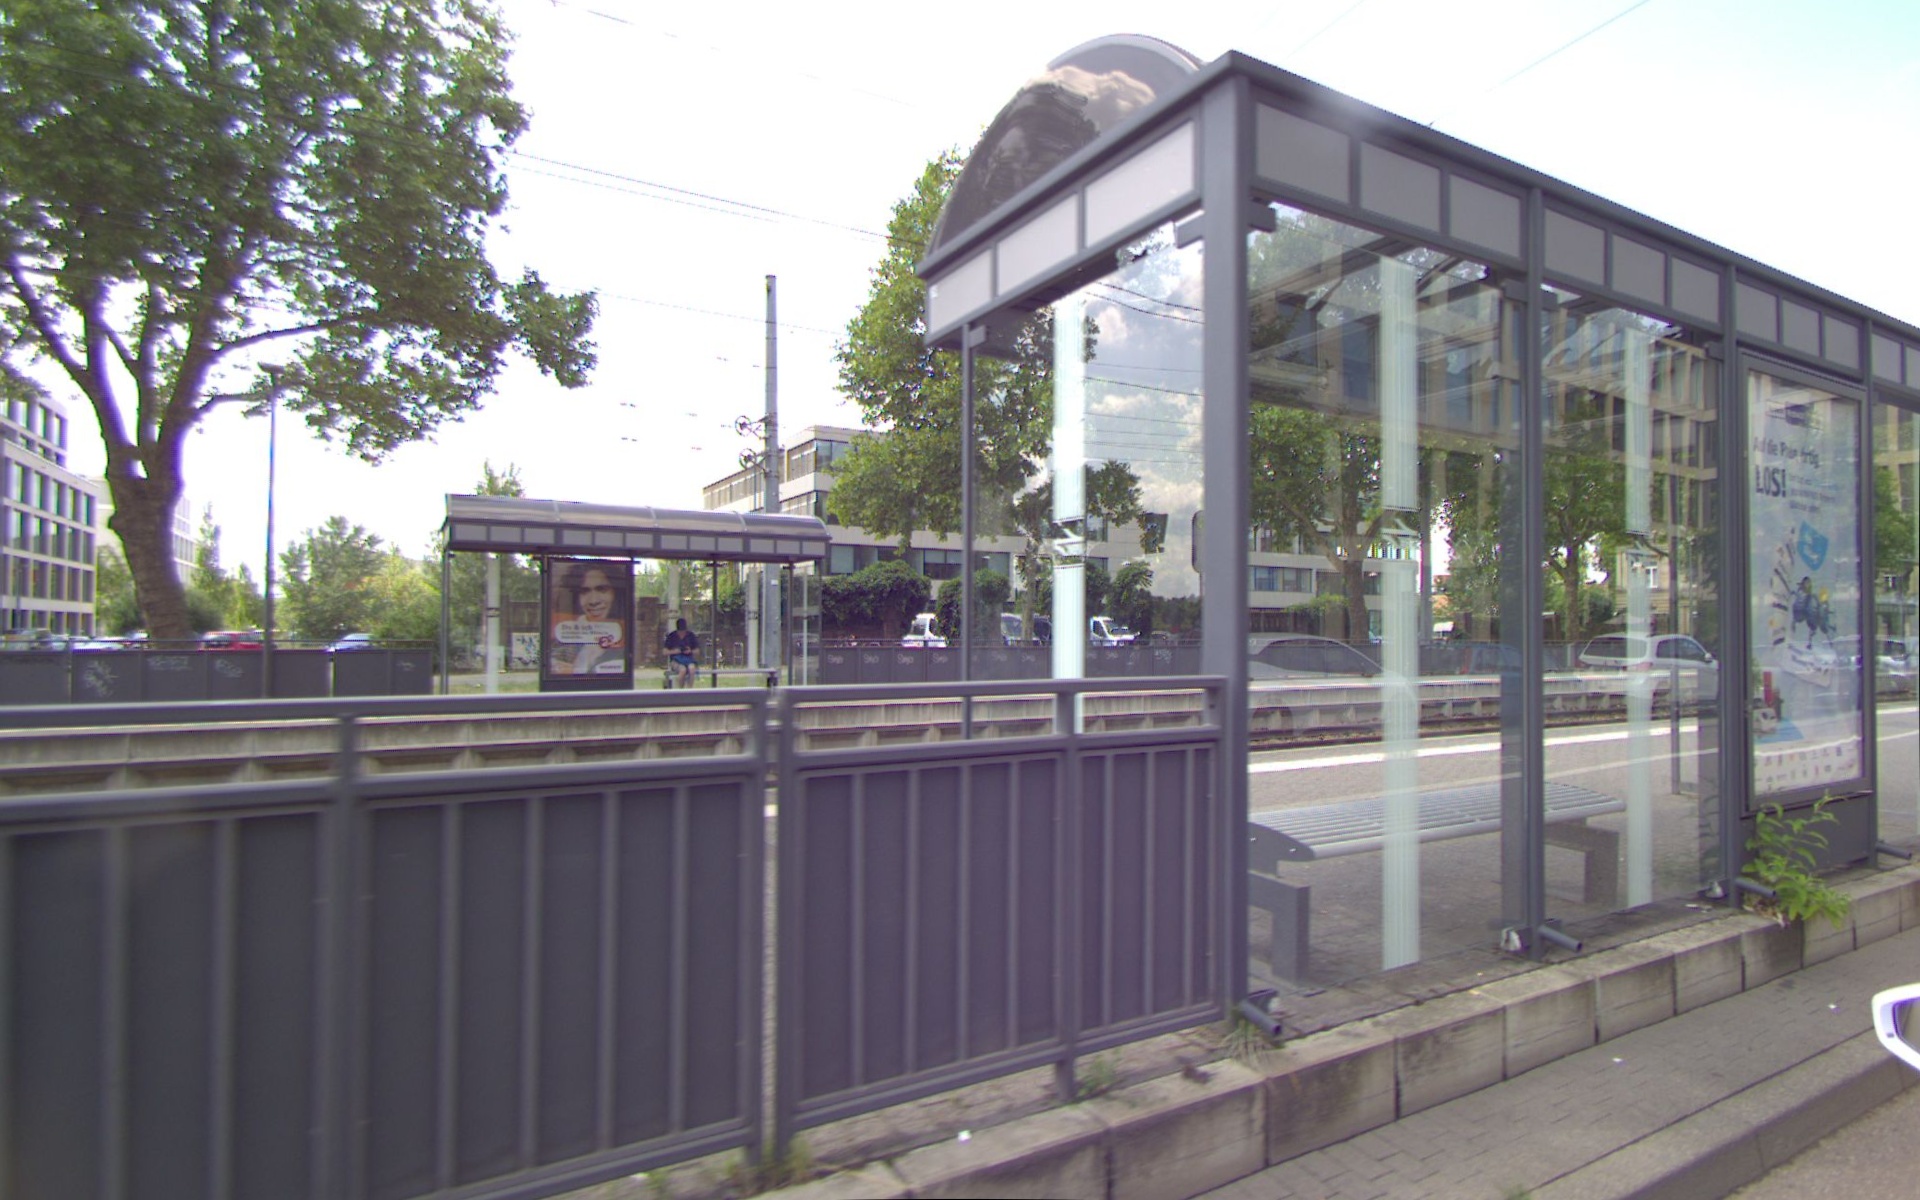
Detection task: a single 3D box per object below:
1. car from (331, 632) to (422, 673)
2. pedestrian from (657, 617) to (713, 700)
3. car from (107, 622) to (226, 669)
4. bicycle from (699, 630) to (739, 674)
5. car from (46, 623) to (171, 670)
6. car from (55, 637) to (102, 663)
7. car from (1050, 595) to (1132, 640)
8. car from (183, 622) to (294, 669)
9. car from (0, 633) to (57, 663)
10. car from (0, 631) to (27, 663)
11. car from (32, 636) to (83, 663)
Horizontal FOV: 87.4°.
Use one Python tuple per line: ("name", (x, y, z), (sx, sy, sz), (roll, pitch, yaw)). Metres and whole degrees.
("car", (-30.136, 2.689, 52.017), (1.959, 2.040, 4.003), (-1, -2, 10))
("pedestrian", (-4.414, 0.920, 16.101), (0.758, 1.286, 0.550), (1, -1, -29))
("car", (-36.282, 2.118, 46.097), (1.961, 2.040, 4.440), (0, -3, -2))
("bicycle", (-7.772, 1.638, 32.294), (0.626, 1.183, 3.029), (1, 1, -25))
("car", (-38.851, 2.133, 45.992), (1.961, 2.040, 4.440), (0, -3, -2))
("car", (-65.804, 3.744, 75.037), (1.739, 1.837, 4.015), (1, -4, -29))
("car", (6.474, 0.925, 50.050), (1.937, 2.060, 4.119), (1, -4, -30))
("car", (-33.141, 2.107, 46.336), (1.961, 2.040, 4.440), (0, -3, -2))
("car", (-59.677, 3.100, 64.397), (1.739, 1.837, 4.015), (1, -4, -29))
("car", (-56.958, 2.797, 59.373), (1.739, 1.837, 4.015), (1, -4, -29))
("car", (-63.119, 3.459, 70.330), (1.739, 1.837, 4.015), (1, -4, -29))
